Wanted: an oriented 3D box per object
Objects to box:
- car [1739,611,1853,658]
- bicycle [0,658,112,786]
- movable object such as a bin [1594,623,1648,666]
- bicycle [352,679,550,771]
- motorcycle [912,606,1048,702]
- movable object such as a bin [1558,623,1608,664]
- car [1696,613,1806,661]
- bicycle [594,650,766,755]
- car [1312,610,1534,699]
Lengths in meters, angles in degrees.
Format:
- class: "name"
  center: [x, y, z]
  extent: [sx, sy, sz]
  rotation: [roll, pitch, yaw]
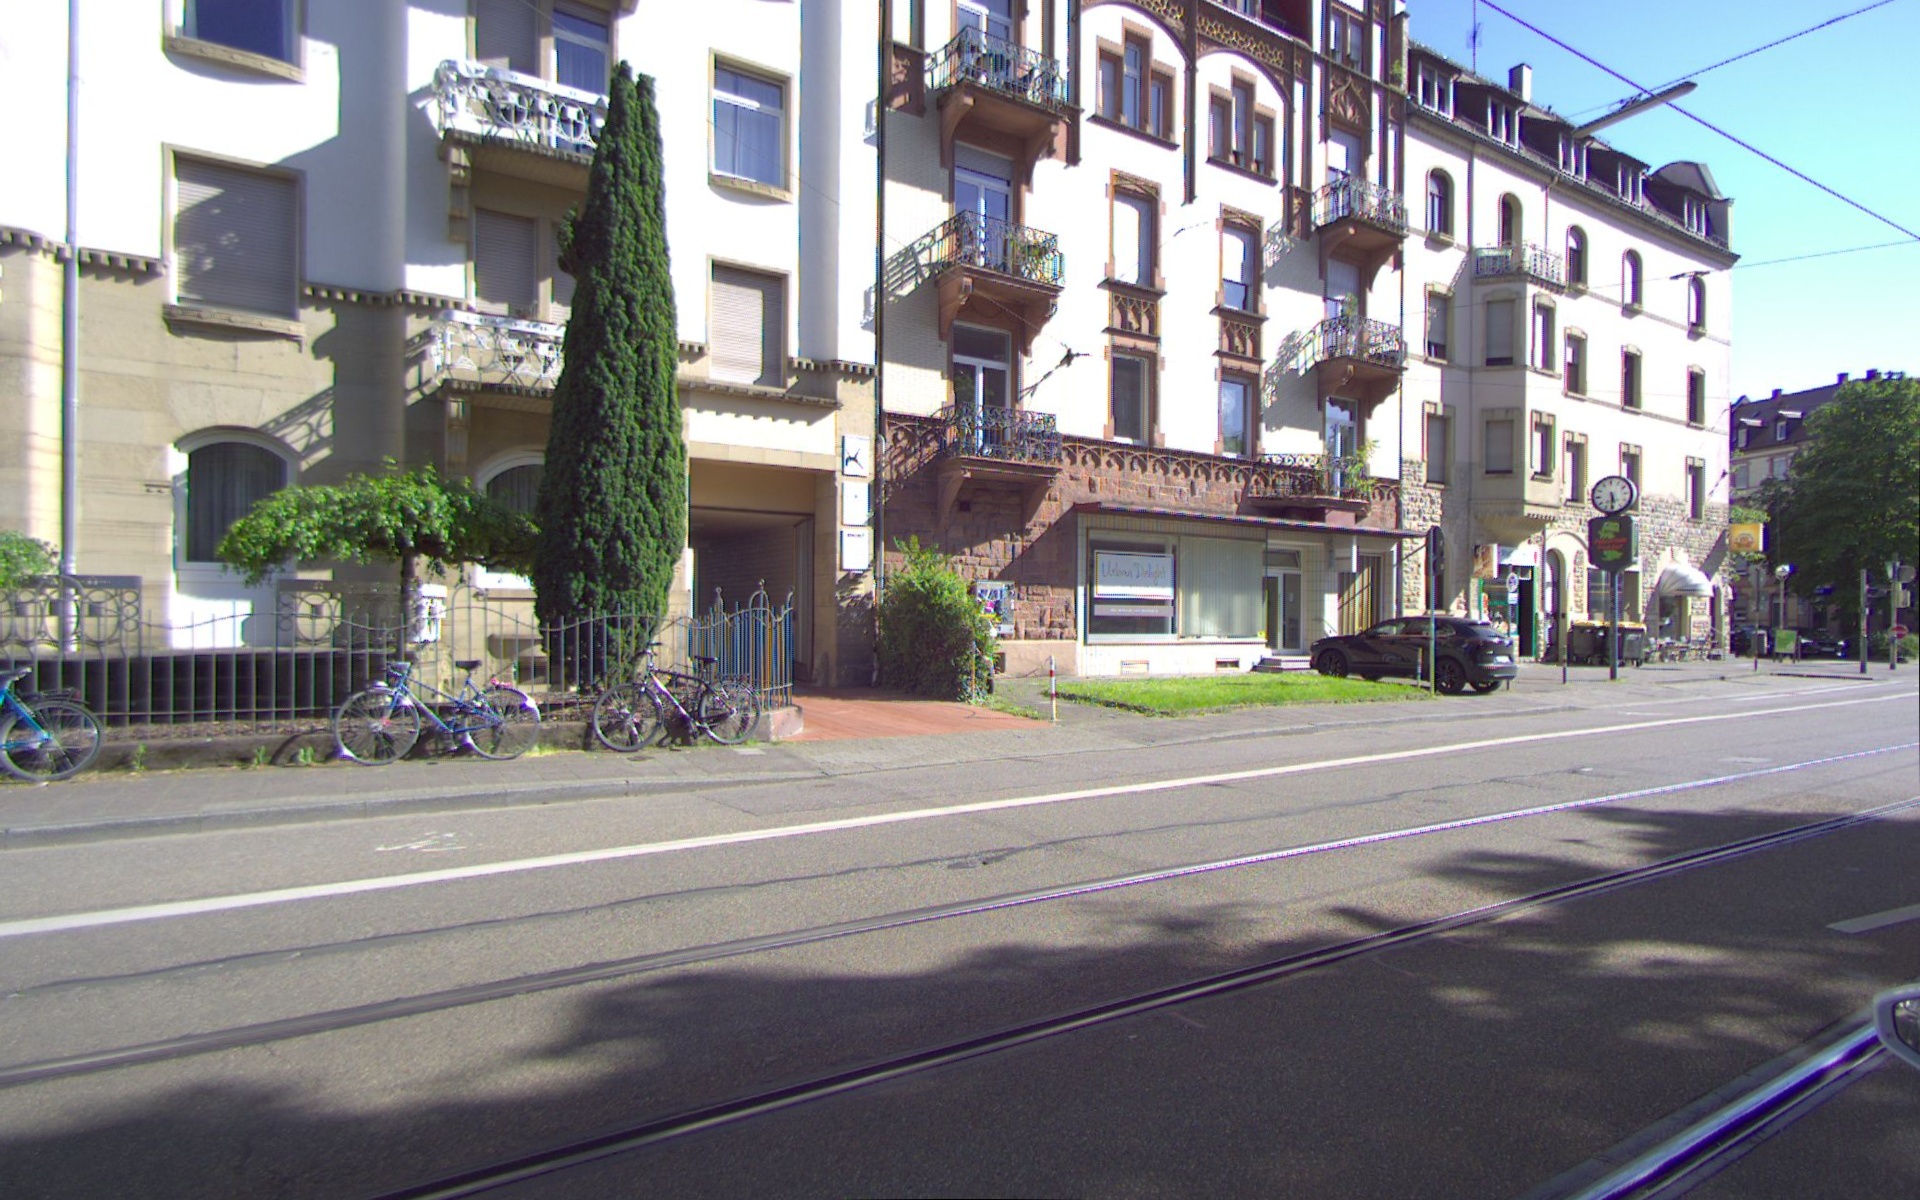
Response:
- class: "car"
  center: [39.313, 1.588, 47.374]
  extent: [1.961, 2.040, 3.999]
  rotation: [2, 0, -1]
- class: "bicycle"
  center: [-7.705, 0.938, 7.737]
  extent: [1.728, 0.955, 0.402]
  rotation: [2, 0, -31]
- class: "movable object such as a bin"
  center: [20.670, 1.396, 31.423]
  extent: [1.128, 1.290, 0.942]
  rotation: [2, 0, -26]
- class: "bicycle"
  center: [-4.760, 1.150, 9.459]
  extent: [1.633, 0.772, 0.316]
  rotation: [2, 0, -31]
- class: "motorcycle"
  center: [0.275, 0.885, 17.626]
  extent: [0.814, 1.476, 3.067]
  rotation: [2, 0, -32]
- class: "movable object such as a bin"
  center: [19.858, 1.390, 32.019]
  extent: [1.228, 1.239, 0.829]
  rotation: [2, 0, -28]
- class: "car"
  center: [37.065, 1.694, 47.199]
  extent: [1.961, 2.040, 3.999]
  rotation: [2, 0, -1]
- class: "bicycle"
  center: [-3.003, 1.080, 10.844]
  extent: [1.728, 1.053, 0.402]
  rotation: [2, 0, -31]
- class: "car"
  center: [9.861, 1.099, 21.652]
  extent: [1.755, 1.523, 3.958]
  rotation: [2, 1, -36]
